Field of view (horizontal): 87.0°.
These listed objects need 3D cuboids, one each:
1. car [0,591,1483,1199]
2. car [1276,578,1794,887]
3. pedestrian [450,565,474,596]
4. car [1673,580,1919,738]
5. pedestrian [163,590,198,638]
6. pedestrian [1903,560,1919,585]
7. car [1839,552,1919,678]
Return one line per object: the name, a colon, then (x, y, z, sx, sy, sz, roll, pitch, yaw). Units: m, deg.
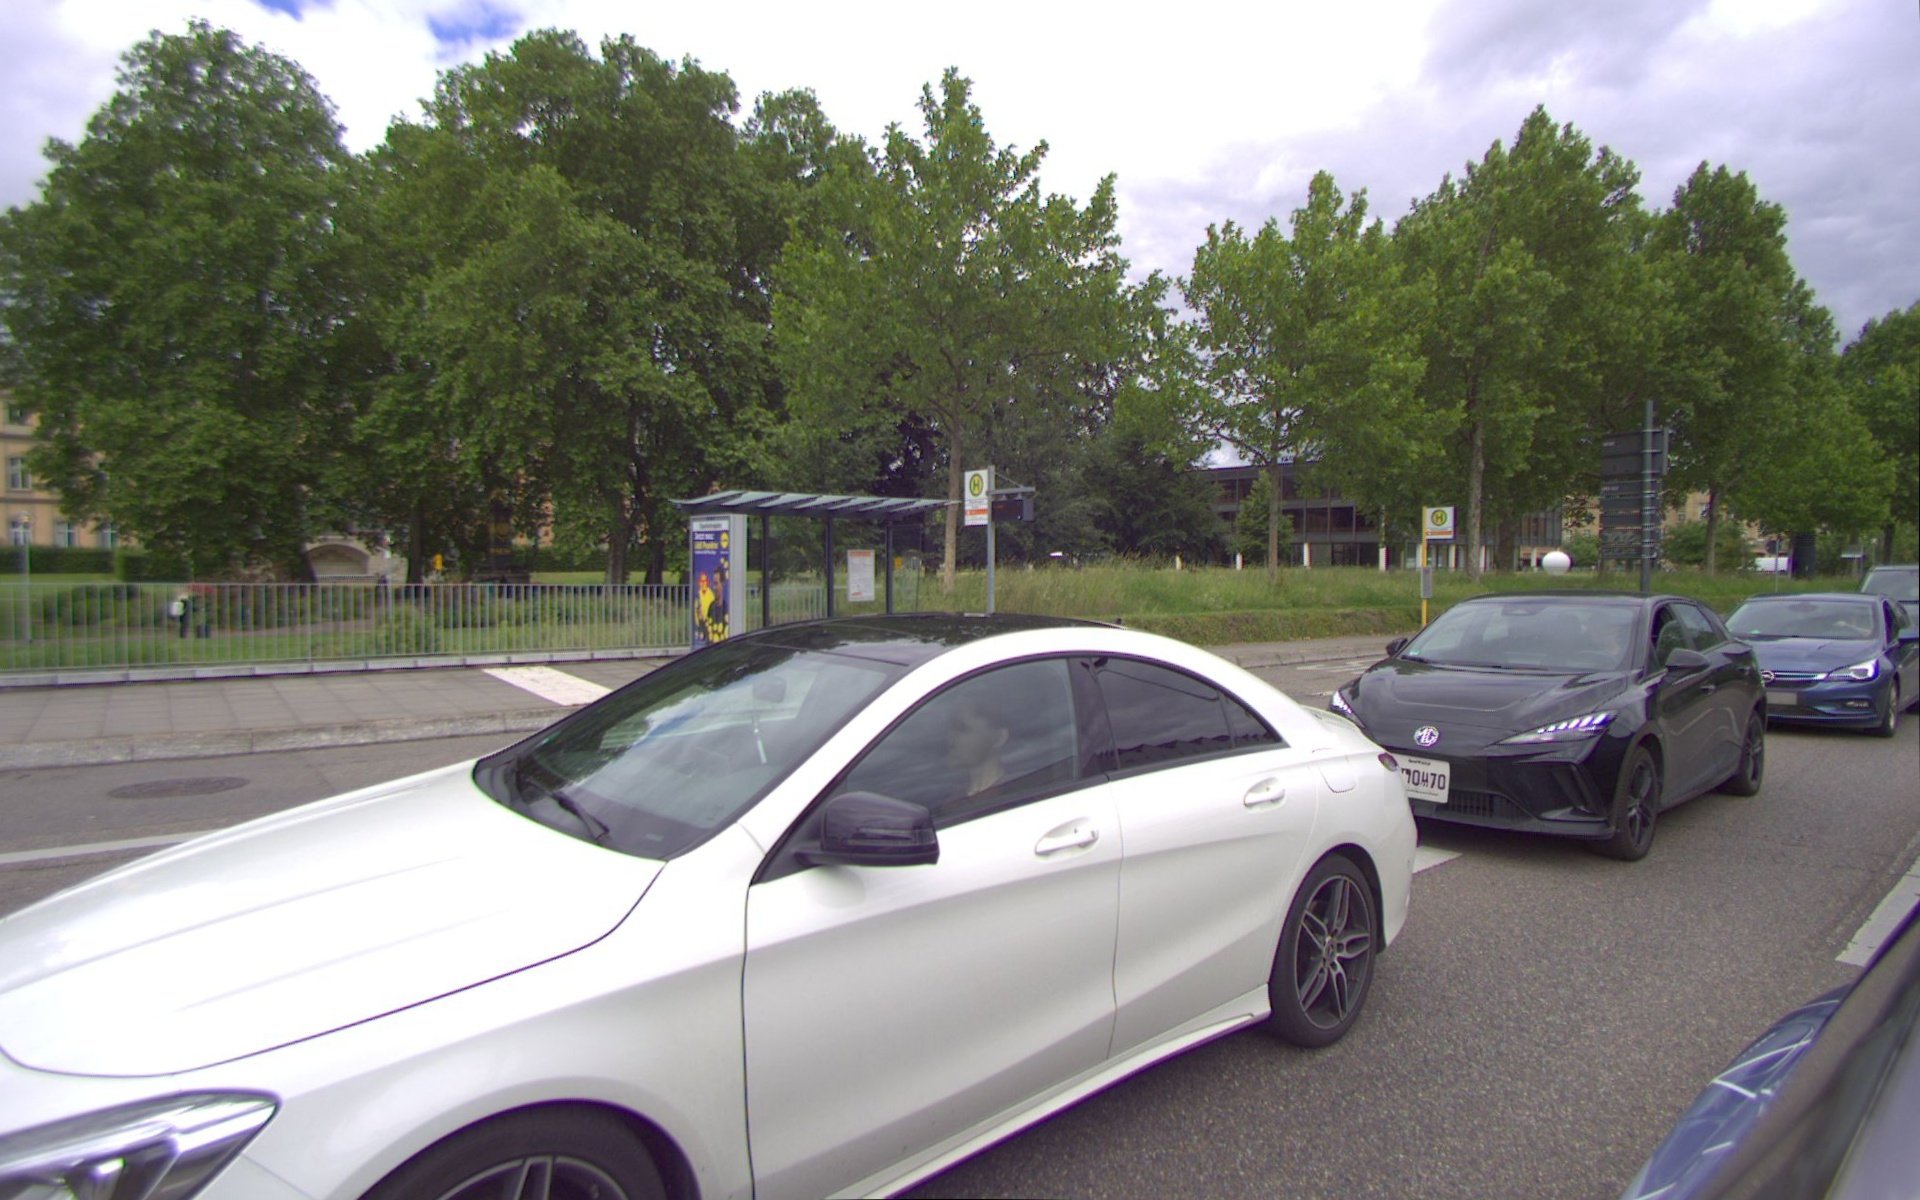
car: (-0.256, 0.736, 3.212, 4.446, 1.437, 1.799, -1, 2, -39)
car: (4.145, 0.618, 7.039, 4.020, 1.508, 1.852, -1, 2, -40)
pedestrian: (-32.896, -1.285, 66.848, 1.083, 2.039, 0.944, -2, 0, -5)
car: (9.786, 0.521, 11.491, 3.944, 1.452, 1.804, -1, 2, -40)
pedestrian: (-27.020, 0.474, 35.086, 0.674, 1.621, 0.654, -1, 0, 17)
pedestrian: (78.847, -2.282, 83.870, 1.160, 2.039, 0.891, -2, 0, -40)
car: (15.994, 0.174, 16.309, 4.719, 1.856, 2.020, -1, 2, -40)
